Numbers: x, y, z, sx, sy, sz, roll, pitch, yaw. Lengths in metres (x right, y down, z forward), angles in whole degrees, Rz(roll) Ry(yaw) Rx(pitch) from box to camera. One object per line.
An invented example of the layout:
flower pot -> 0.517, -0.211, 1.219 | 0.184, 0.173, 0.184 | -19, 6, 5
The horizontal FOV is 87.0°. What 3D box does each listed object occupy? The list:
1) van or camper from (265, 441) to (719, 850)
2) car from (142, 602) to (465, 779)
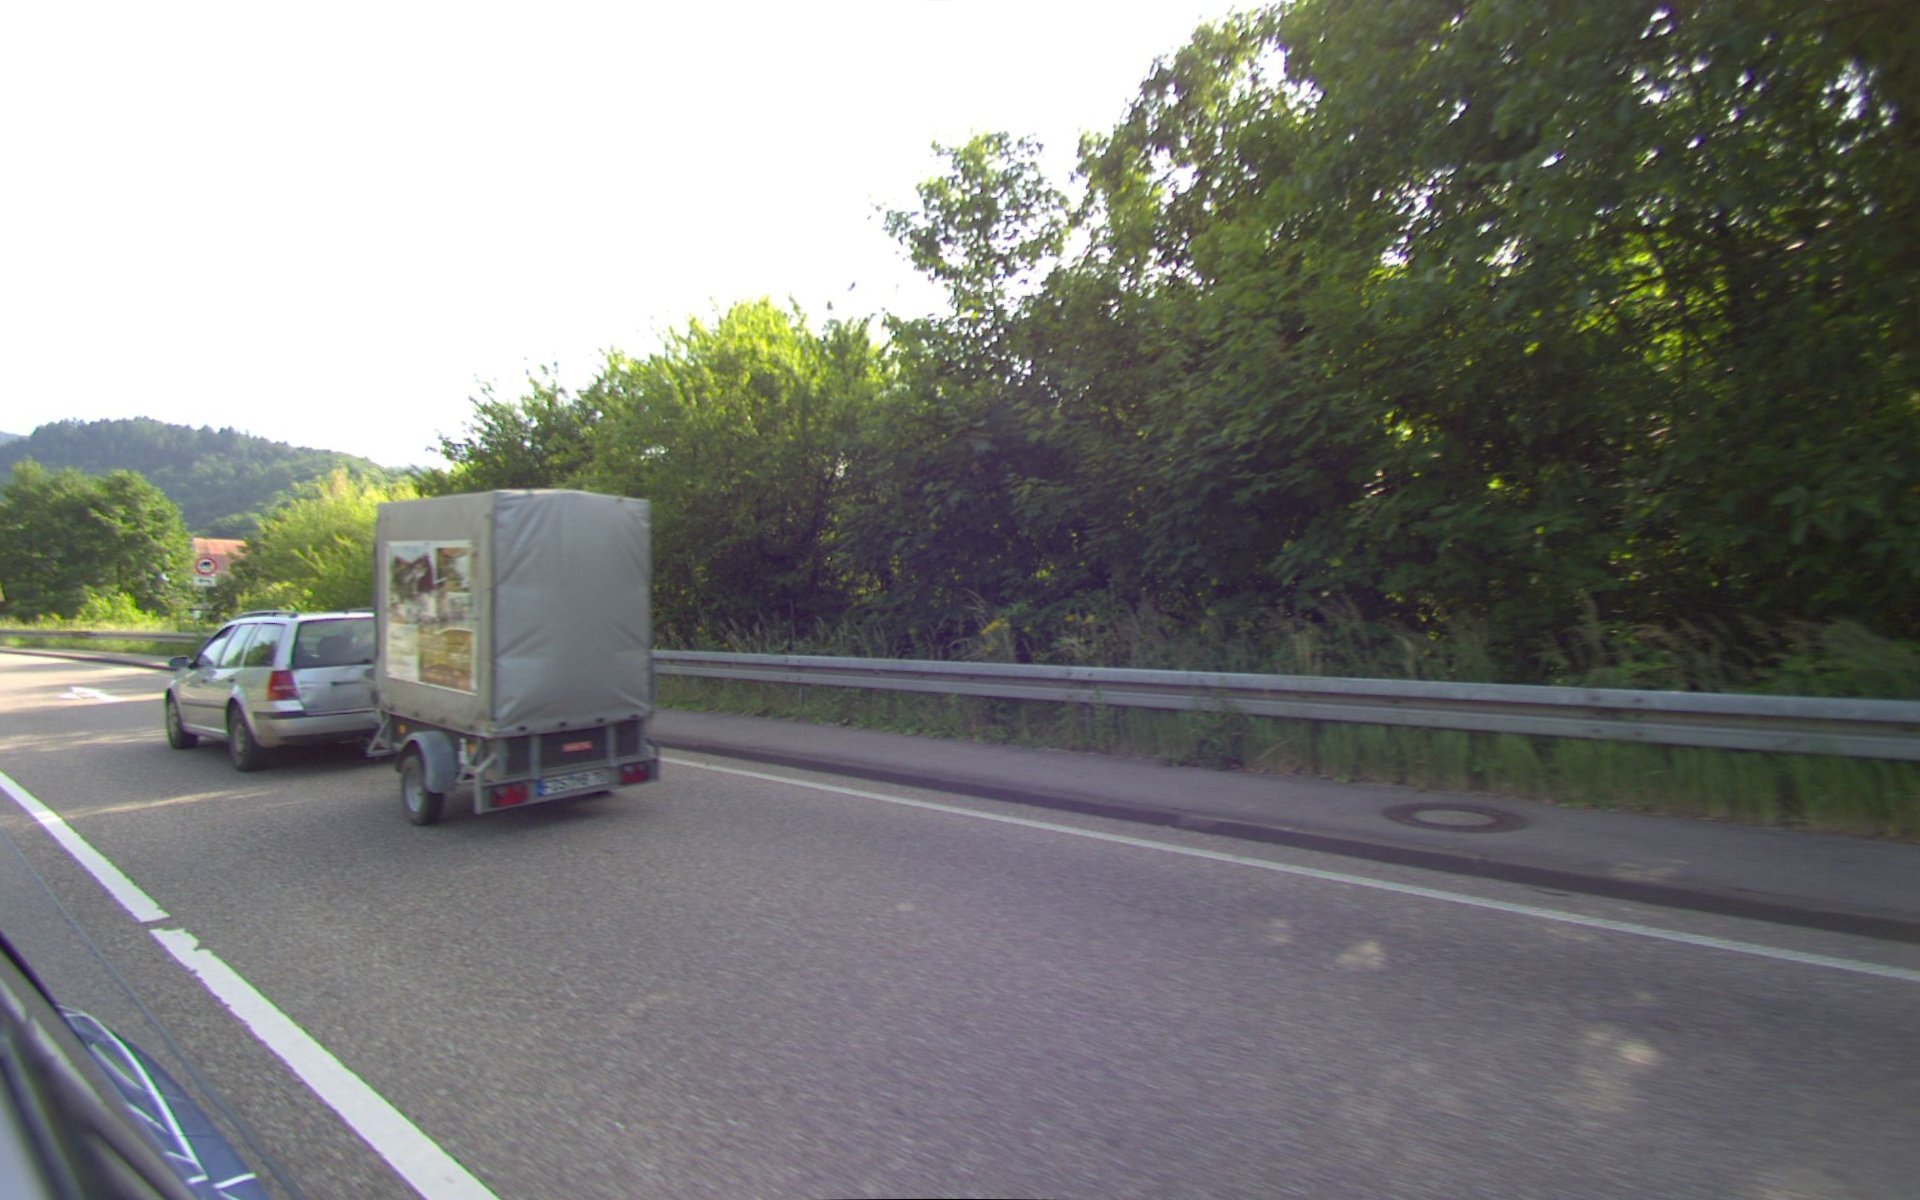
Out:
van or camper -> -3.744, 0.278, 7.740 | 4.057, 2.346, 1.586 | -1, 0, 41
car -> -7.046, 0.800, 10.637 | 4.603, 1.447, 1.631 | -1, 0, 41
